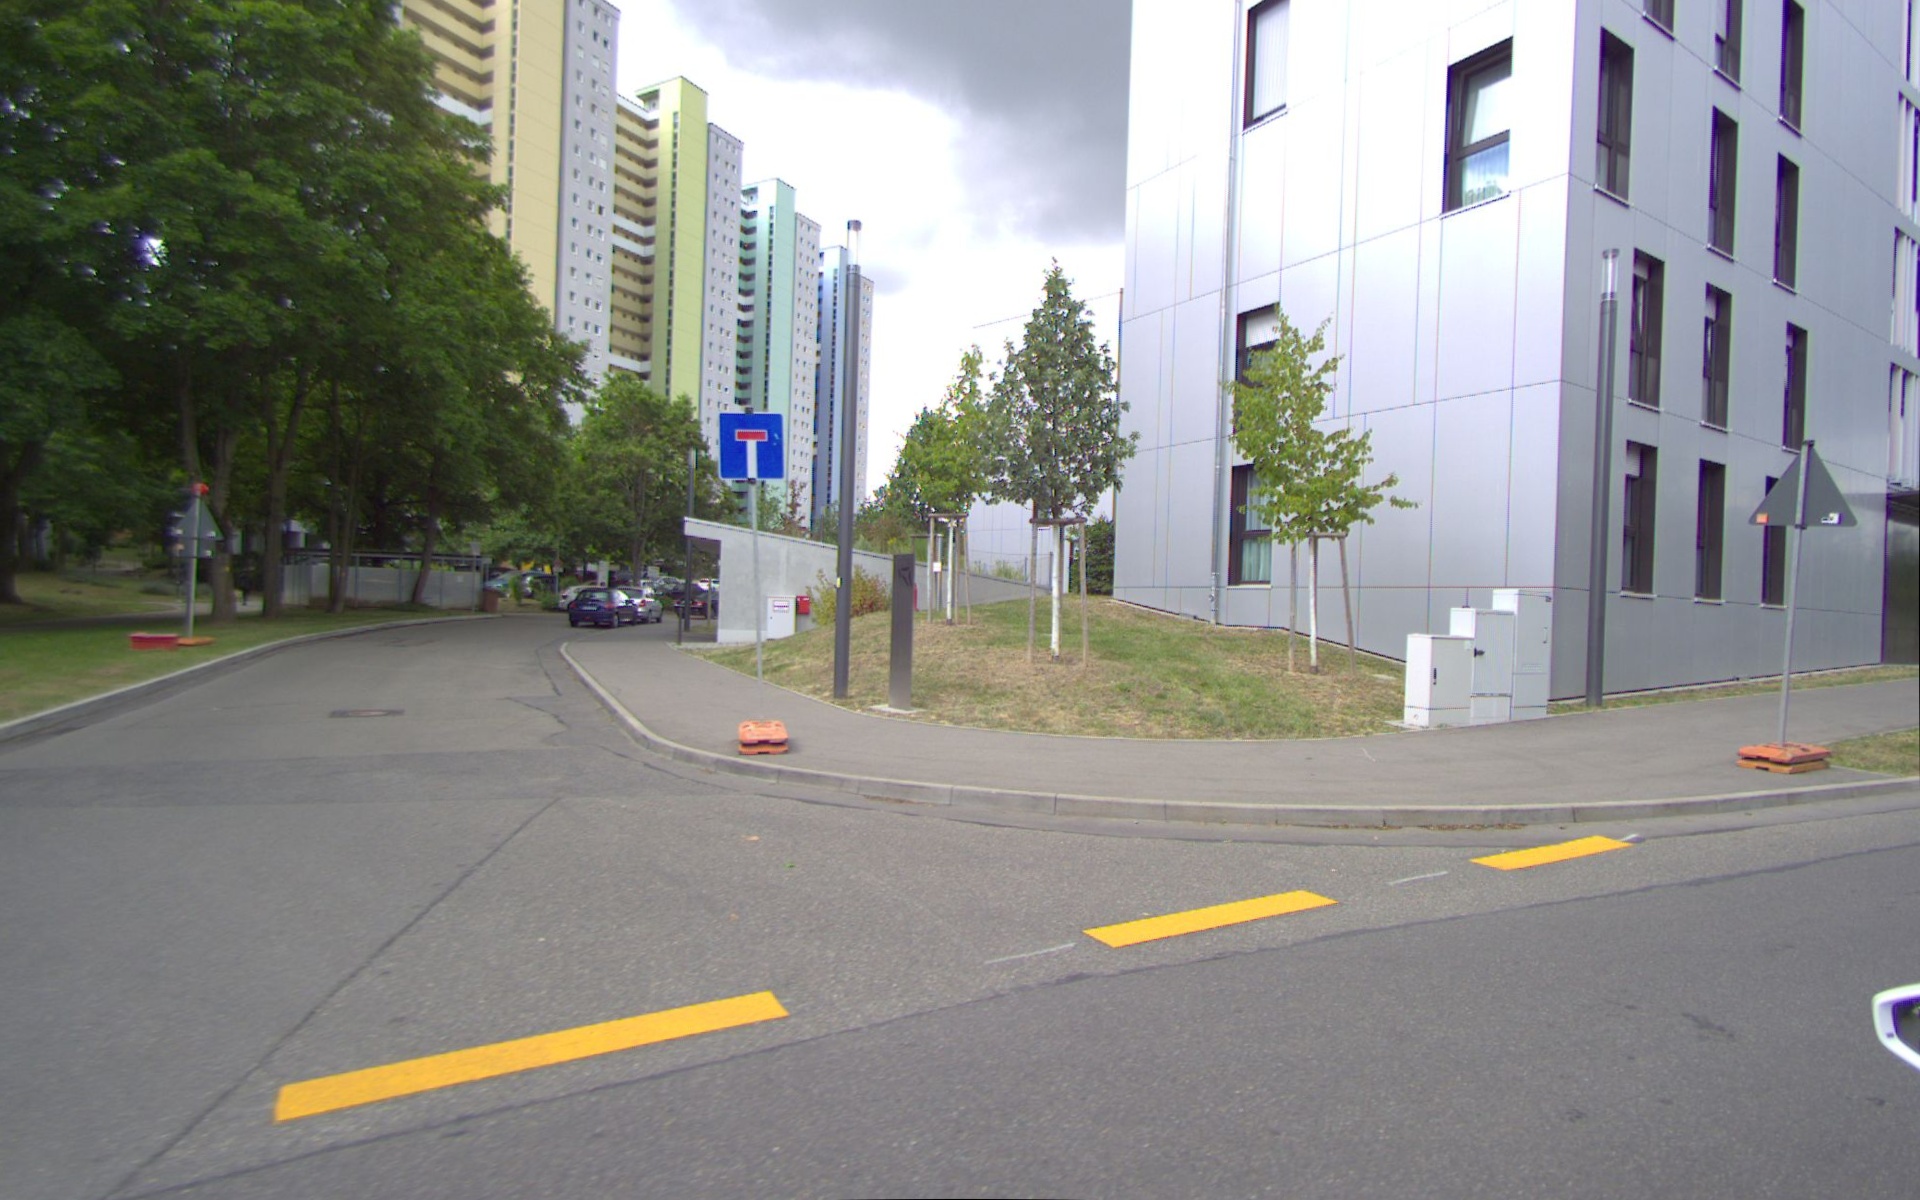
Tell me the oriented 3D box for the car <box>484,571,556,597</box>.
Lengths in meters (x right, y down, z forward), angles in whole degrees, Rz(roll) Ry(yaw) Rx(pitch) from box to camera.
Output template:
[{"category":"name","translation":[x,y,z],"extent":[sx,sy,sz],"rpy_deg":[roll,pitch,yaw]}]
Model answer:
[{"category":"car","translation":[-25.704,-0.899,58.737],"extent":[3.593,1.391,1.481],"rpy_deg":[2,0,-41]}]

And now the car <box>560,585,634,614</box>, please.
[{"category":"car","translation":[-19.113,-0.037,52.871],"extent":[3.569,1.391,1.491],"rpy_deg":[2,0,-22]}]

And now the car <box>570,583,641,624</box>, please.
[{"category":"car","translation":[-13.011,0.104,37.068],"extent":[1.470,1.391,3.619],"rpy_deg":[2,0,-4]}]

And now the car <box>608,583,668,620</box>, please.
[{"category":"car","translation":[-13.197,0.053,41.306],"extent":[1.470,1.391,3.619],"rpy_deg":[2,0,-4]}]

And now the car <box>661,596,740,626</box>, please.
[{"category":"car","translation":[-12.773,0.534,49.627],"extent":[1.800,1.391,3.615],"rpy_deg":[2,0,29]}]

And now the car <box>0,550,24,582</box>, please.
[{"category":"car","translation":[-55.193,-1.955,55.812],"extent":[2.172,1.790,4.233],"rpy_deg":[2,0,31]}]

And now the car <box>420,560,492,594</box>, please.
[{"category":"car","translation":[-30.251,-1.342,60.307],"extent":[3.593,1.892,1.481],"rpy_deg":[2,0,-41]}]

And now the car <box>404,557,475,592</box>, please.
[{"category":"car","translation":[-31.695,-1.512,61.231],"extent":[3.593,1.981,1.481],"rpy_deg":[2,0,-41]}]

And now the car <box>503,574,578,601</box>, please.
[{"category":"car","translation":[-23.584,-0.719,56.541],"extent":[3.593,1.391,1.481],"rpy_deg":[2,0,-41]}]
